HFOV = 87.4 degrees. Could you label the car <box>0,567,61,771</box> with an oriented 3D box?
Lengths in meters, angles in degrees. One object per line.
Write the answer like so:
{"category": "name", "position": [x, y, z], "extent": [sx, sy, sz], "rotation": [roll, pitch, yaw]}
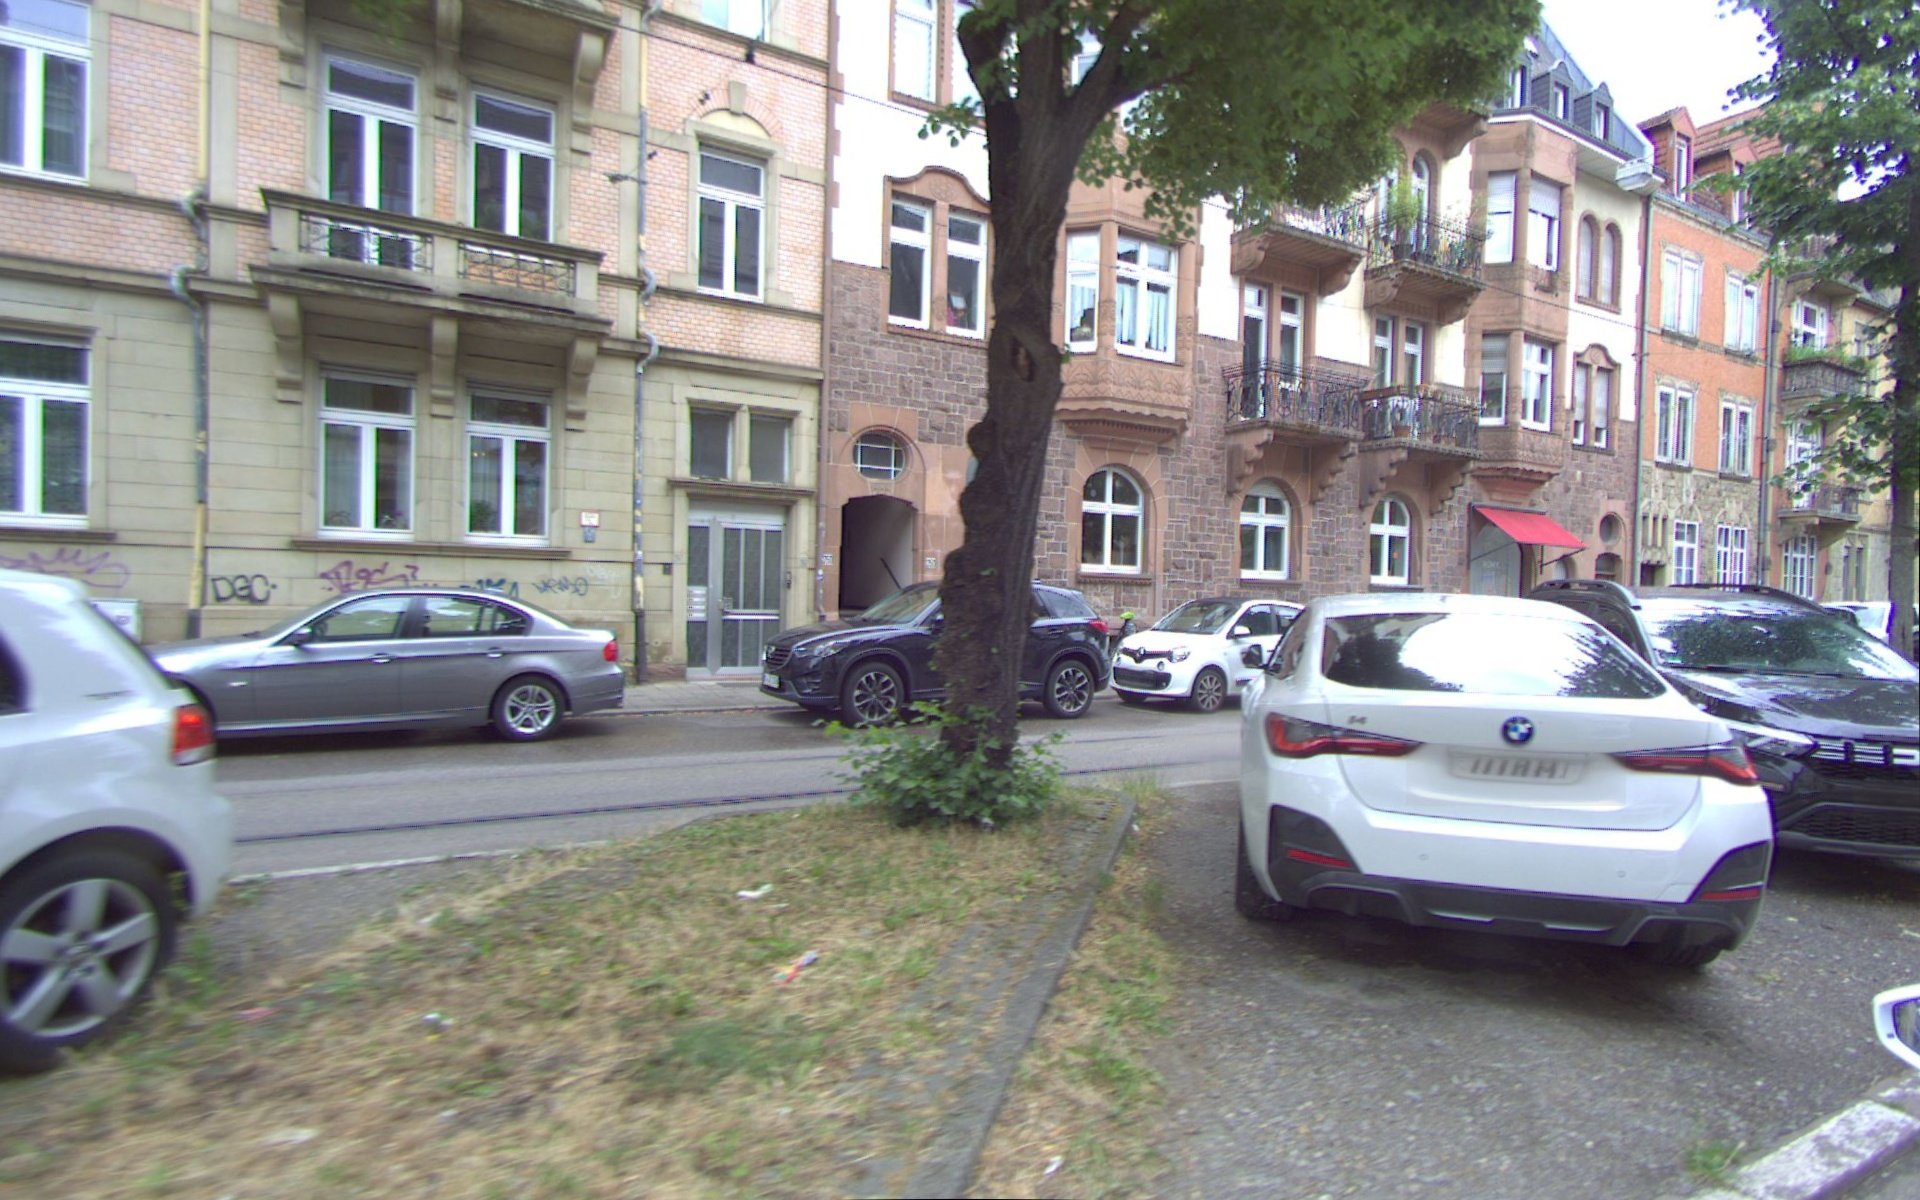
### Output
{"category": "car", "position": [-9.276, 0.452, 6.874], "extent": [4.336, 1.510, 1.796], "rotation": [2, 0, -31]}

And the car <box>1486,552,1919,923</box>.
{"category": "car", "position": [5.050, 0.638, 6.671], "extent": [1.730, 1.655, 4.535], "rotation": [2, 0, 15]}

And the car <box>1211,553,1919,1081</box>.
{"category": "car", "position": [2.422, 0.631, 5.393], "extent": [1.995, 1.510, 4.544], "rotation": [2, 0, 15]}

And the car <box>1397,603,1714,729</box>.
{"category": "car", "position": [8.377, 0.852, 14.024], "extent": [4.598, 1.472, 1.796], "rotation": [2, 0, -31]}

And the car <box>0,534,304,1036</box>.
{"category": "car", "position": [-3.689, 0.473, 1.740], "extent": [1.826, 1.329, 4.131], "rotation": [2, 1, 14]}

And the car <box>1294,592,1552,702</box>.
{"category": "car", "position": [7.954, 0.757, 17.144], "extent": [4.501, 1.648, 1.732], "rotation": [2, 0, -31]}

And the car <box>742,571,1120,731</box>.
{"category": "car", "position": [-0.293, 0.560, 12.230], "extent": [4.270, 1.650, 1.760], "rotation": [2, 0, -31]}

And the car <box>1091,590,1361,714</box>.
{"category": "car", "position": [3.880, 0.704, 14.549], "extent": [3.679, 1.580, 1.654], "rotation": [2, 0, -31]}

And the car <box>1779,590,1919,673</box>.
{"category": "car", "position": [23.570, 0.802, 26.120], "extent": [5.035, 1.978, 1.872], "rotation": [2, 0, -31]}

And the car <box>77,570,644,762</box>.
{"category": "car", "position": [-5.322, 0.537, 9.459], "extent": [4.181, 1.457, 1.796], "rotation": [2, 0, -31]}

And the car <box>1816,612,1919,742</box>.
{"category": "car", "position": [11.183, 0.880, 10.264], "extent": [1.722, 1.386, 4.670], "rotation": [2, 1, 13]}

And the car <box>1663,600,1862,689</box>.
{"category": "car", "position": [18.201, 0.974, 22.726], "extent": [5.058, 1.805, 1.805], "rotation": [2, 0, -31]}
